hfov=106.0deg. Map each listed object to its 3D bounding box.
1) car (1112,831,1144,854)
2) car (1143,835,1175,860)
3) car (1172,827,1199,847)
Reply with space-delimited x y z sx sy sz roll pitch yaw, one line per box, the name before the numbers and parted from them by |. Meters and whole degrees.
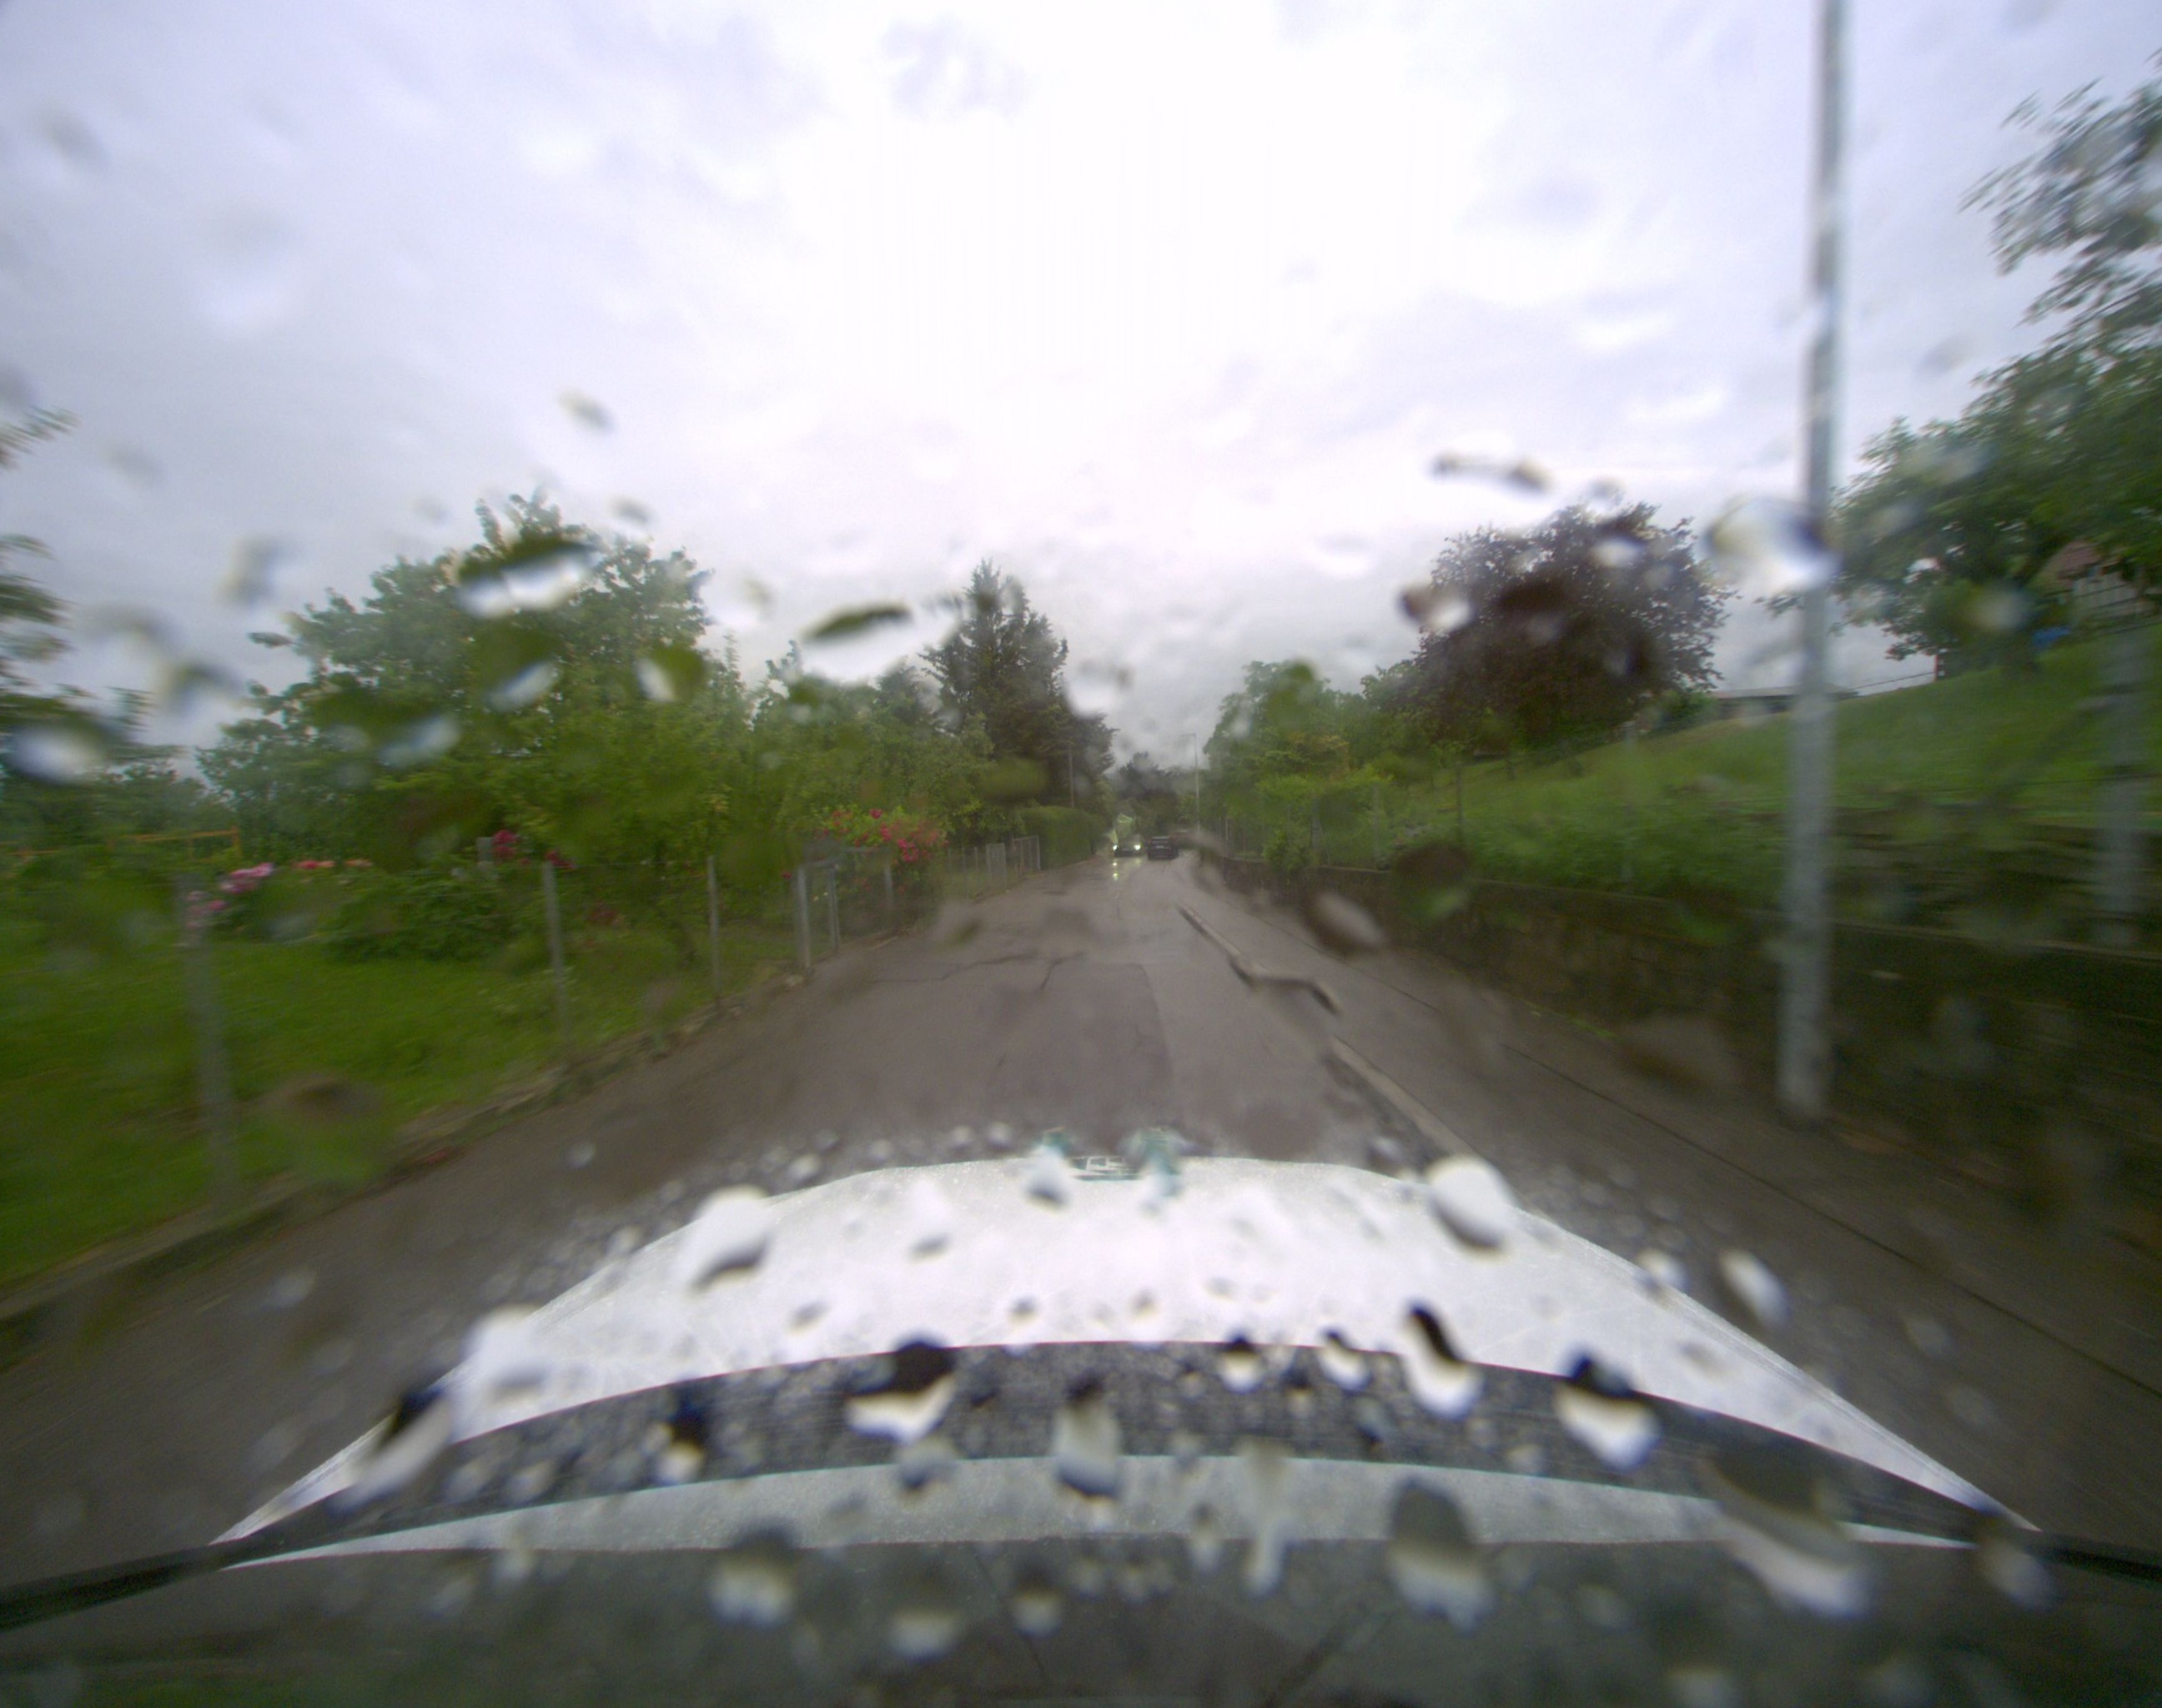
car | 3.355 -0.848 57.040 1.769 1.493 3.842 0 2 10
car | 5.073 -0.447 52.634 1.824 1.464 4.010 1 1 8
car | 8.931 -1.486 69.617 1.665 1.564 3.812 1 3 17
